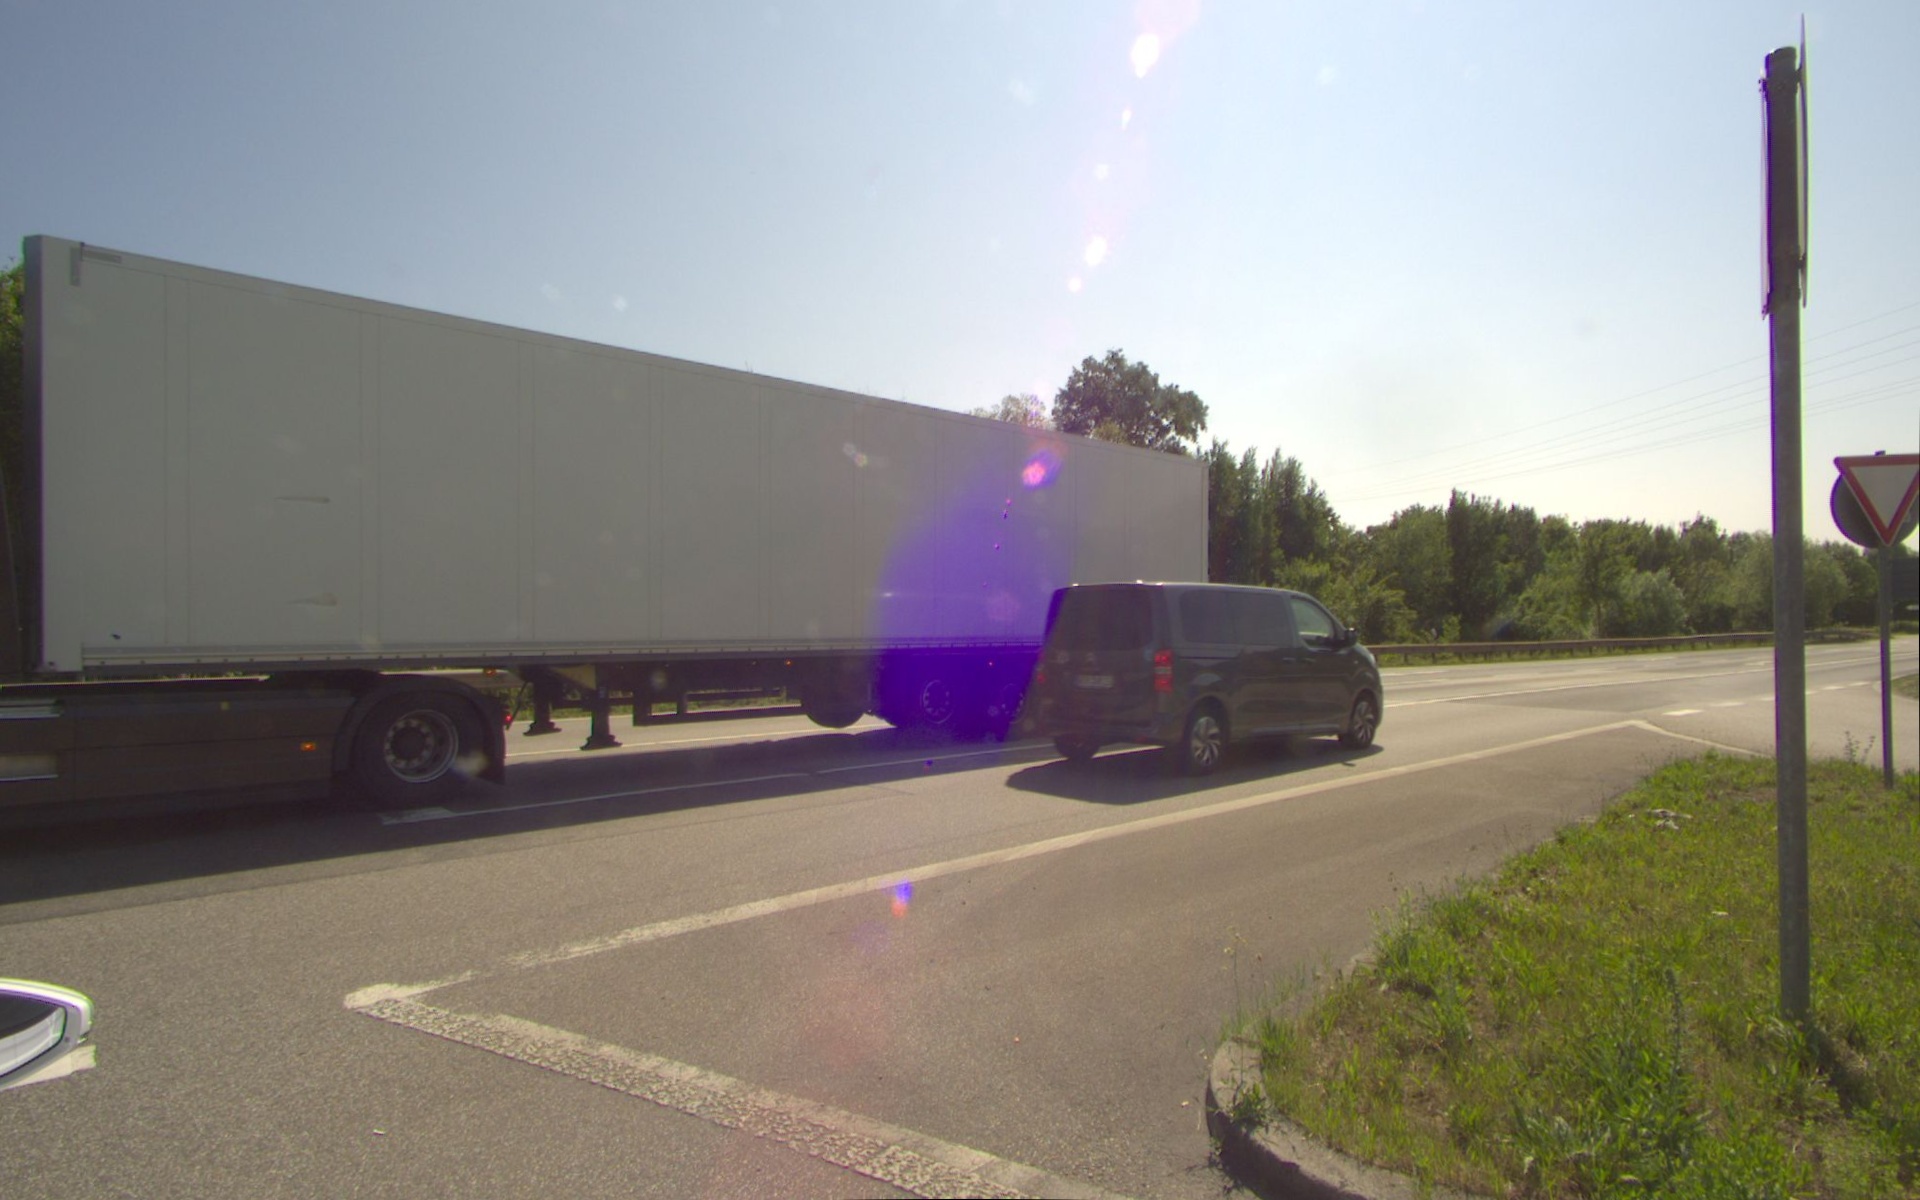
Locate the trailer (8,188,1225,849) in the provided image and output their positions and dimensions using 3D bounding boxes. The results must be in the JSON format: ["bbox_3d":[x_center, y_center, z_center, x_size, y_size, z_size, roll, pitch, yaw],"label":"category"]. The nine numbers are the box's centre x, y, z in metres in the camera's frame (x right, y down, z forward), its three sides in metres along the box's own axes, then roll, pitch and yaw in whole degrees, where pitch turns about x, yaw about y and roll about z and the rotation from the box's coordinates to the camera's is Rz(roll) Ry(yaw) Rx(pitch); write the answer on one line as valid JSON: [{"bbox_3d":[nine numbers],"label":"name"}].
[{"bbox_3d":[-1.900,-0.383,12.133,13.837,4.219,2.870,1,-1,-42],"label":"trailer"}]

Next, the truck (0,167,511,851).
[{"bbox_3d":[-6.866,-0.539,7.292,2.846,4.227,5.926,0,-1,40],"label":"truck"}]

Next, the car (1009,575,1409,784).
[{"bbox_3d":[3.031,0.795,11.497,4.940,1.903,1.983,1,-2,-41],"label":"car"}]
